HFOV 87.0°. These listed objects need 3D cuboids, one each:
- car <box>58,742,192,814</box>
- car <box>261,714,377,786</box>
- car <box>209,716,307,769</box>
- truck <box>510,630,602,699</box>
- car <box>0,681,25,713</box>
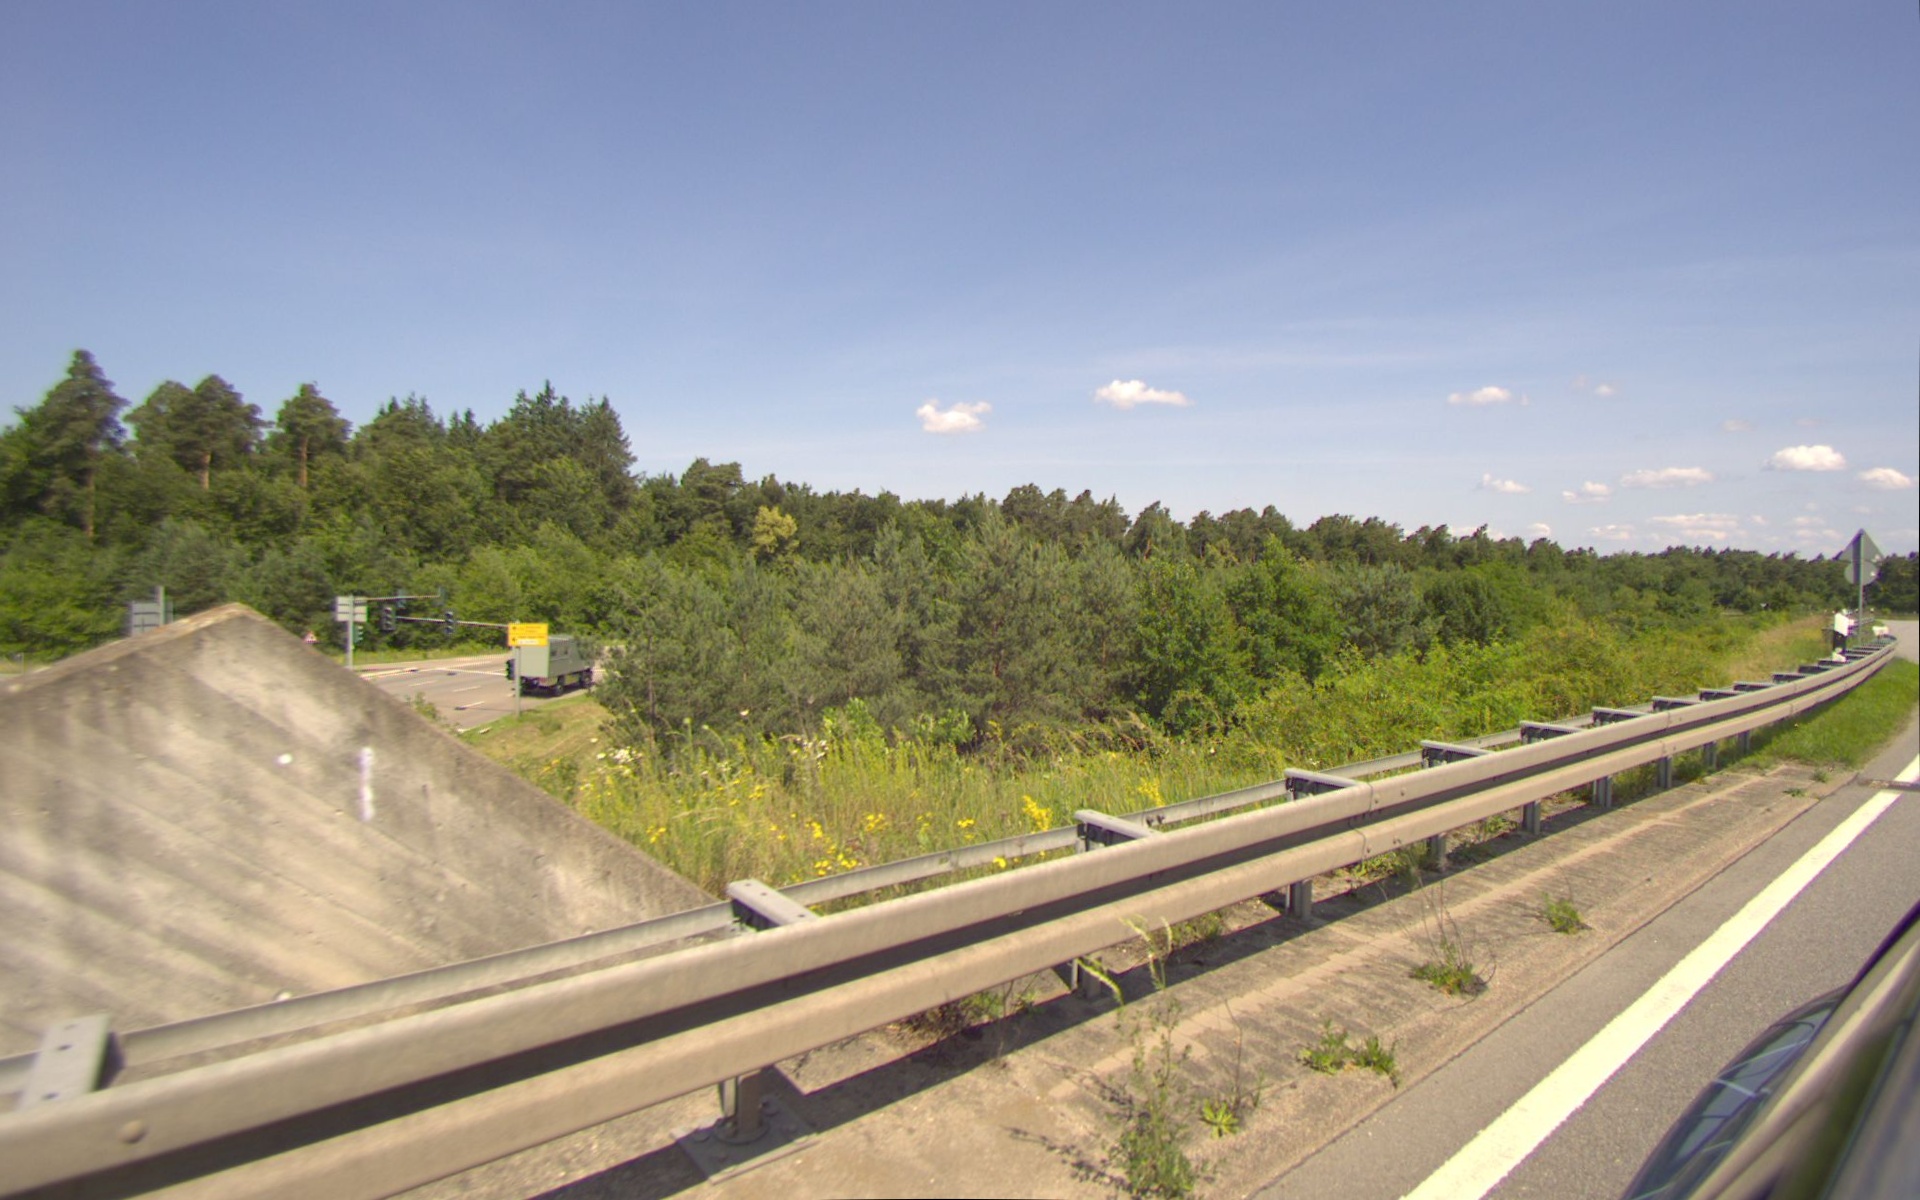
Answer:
[{"bbox_3d":[-29.328,6.215,35.699,1.721,1.652,4.140,4,1,-9],"label":"car"},{"bbox_3d":[-26.054,6.046,41.397,1.868,1.989,5.243,4,1,-7],"label":"car"},{"bbox_3d":[-30.072,6.077,43.500,1.666,1.459,4.405,4,1,-9],"label":"car"},{"bbox_3d":[-27.392,4.278,69.159,2.250,3.765,9.020,3,2,2],"label":"truck"},{"bbox_3d":[-50.172,4.934,51.994,3.739,1.463,1.750,2,-2,25],"label":"car"}]
